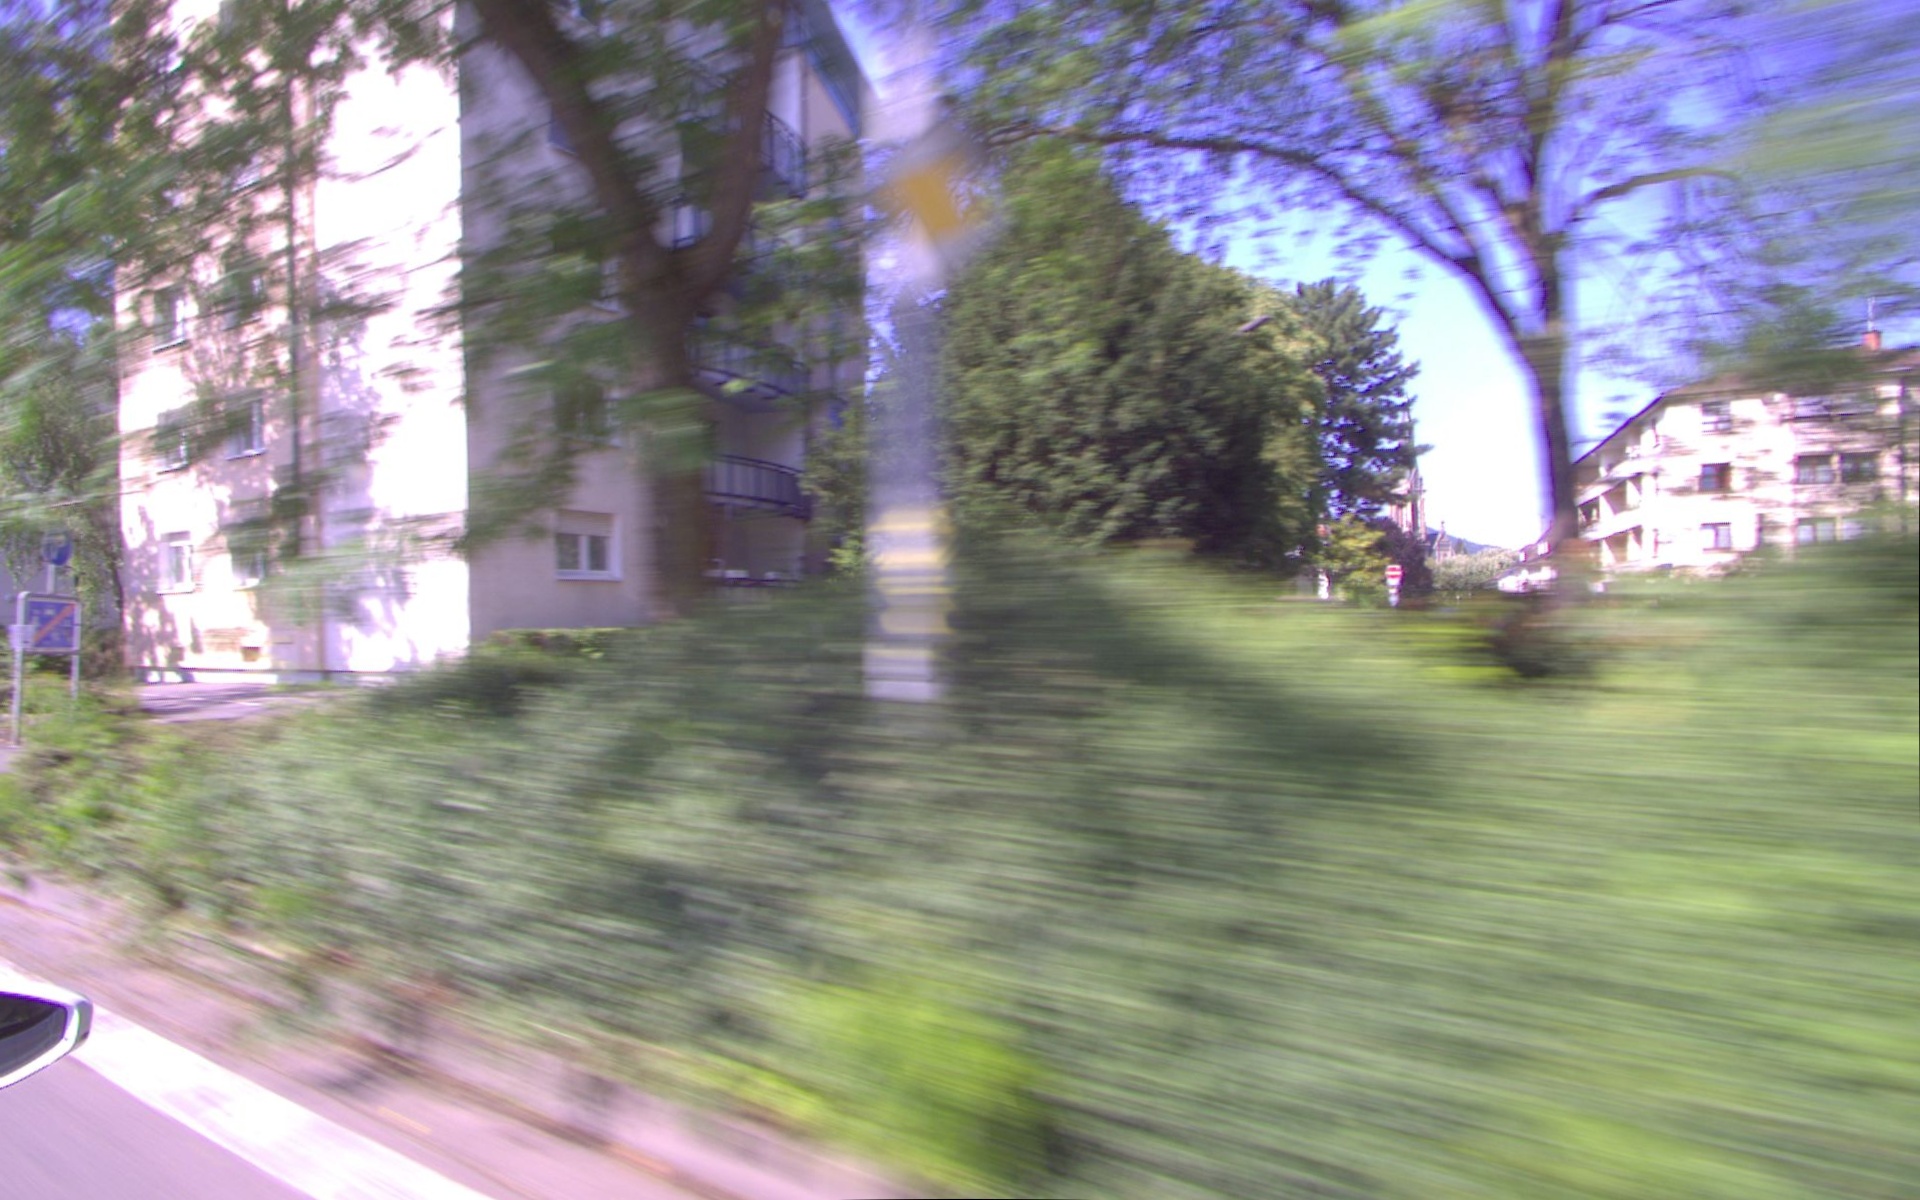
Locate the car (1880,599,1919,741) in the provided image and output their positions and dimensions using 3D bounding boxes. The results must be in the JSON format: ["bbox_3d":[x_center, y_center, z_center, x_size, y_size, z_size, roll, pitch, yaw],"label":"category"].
[{"bbox_3d":[11.031,0.756,9.742,1.810,1.568,3.961,0,-1,23],"label":"car"}]

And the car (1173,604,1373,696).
[{"bbox_3d":[6.300,0.937,20.114,3.790,1.696,1.655,0,0,-27],"label":"car"}]

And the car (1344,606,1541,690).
[{"bbox_3d":[10.682,1.001,22.132,4.145,1.695,1.781,0,-1,-27],"label":"car"}]
